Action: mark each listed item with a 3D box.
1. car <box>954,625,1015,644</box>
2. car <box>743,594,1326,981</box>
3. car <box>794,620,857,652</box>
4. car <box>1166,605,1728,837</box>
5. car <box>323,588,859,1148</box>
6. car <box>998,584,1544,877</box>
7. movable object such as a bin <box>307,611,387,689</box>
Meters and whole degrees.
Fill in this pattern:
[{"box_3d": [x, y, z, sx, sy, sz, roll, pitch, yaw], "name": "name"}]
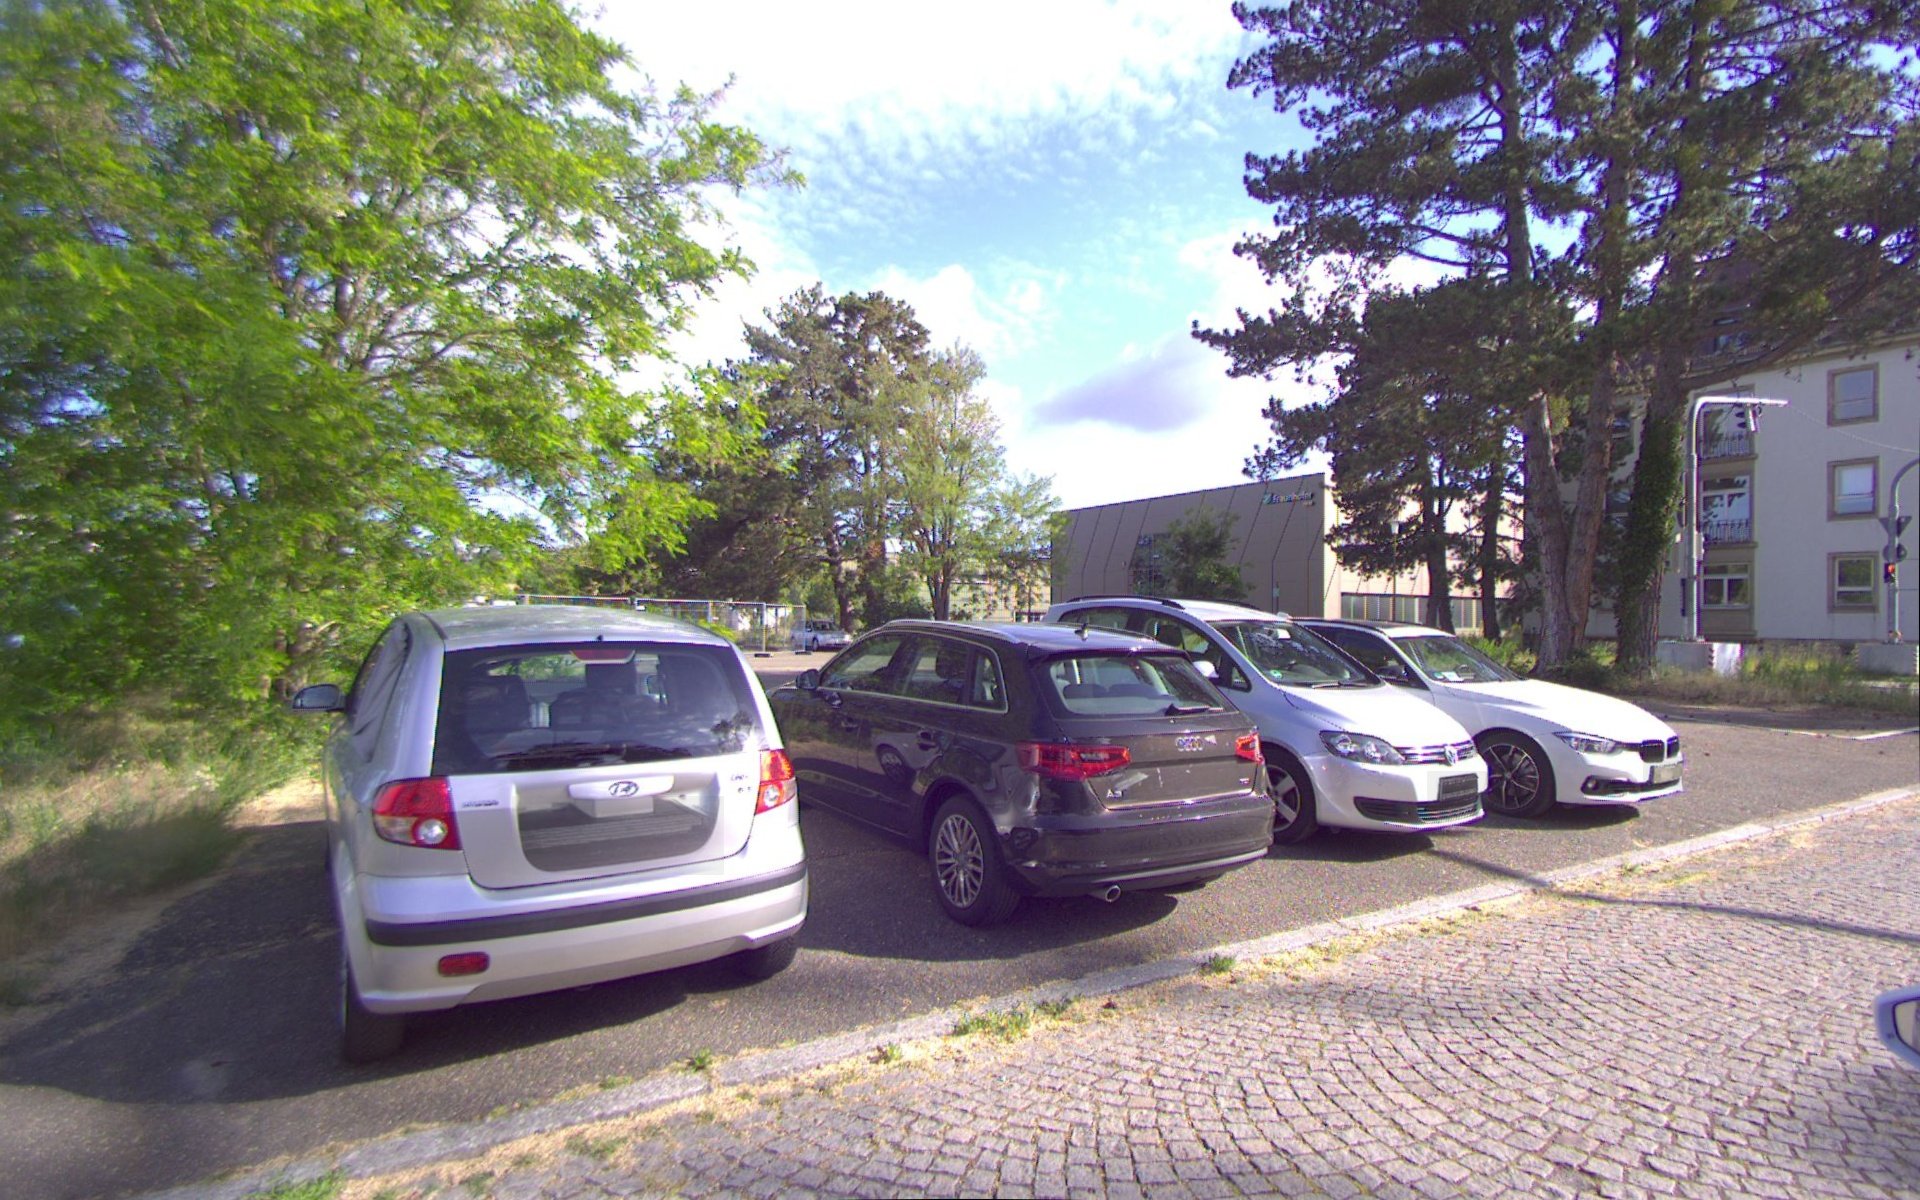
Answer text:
[{"box_3d": [1.672, 2.359, 68.527, 3.950, 1.221, 1.481, 1, -1, -28], "name": "car"}, {"box_3d": [0.124, 0.789, 6.225, 1.669, 1.491, 3.775, 1, 2, -32], "name": "car"}, {"box_3d": [-6.268, 1.630, 46.447, 1.726, 1.388, 3.595, 1, -1, -29], "name": "car"}, {"box_3d": [4.200, 0.878, 9.489, 1.734, 1.487, 4.513, 1, 2, -33], "name": "car"}, {"box_3d": [-2.006, 0.758, 4.730, 1.619, 1.491, 3.444, 1, 2, -33], "name": "car"}, {"box_3d": [2.182, 0.764, 8.035, 1.705, 1.648, 3.917, 1, 1, -35], "name": "car"}, {"box_3d": [-9.588, 0.739, 15.705, 0.987, 1.122, 2.266, 1, -1, -32], "name": "movable object such as a bin"}]
